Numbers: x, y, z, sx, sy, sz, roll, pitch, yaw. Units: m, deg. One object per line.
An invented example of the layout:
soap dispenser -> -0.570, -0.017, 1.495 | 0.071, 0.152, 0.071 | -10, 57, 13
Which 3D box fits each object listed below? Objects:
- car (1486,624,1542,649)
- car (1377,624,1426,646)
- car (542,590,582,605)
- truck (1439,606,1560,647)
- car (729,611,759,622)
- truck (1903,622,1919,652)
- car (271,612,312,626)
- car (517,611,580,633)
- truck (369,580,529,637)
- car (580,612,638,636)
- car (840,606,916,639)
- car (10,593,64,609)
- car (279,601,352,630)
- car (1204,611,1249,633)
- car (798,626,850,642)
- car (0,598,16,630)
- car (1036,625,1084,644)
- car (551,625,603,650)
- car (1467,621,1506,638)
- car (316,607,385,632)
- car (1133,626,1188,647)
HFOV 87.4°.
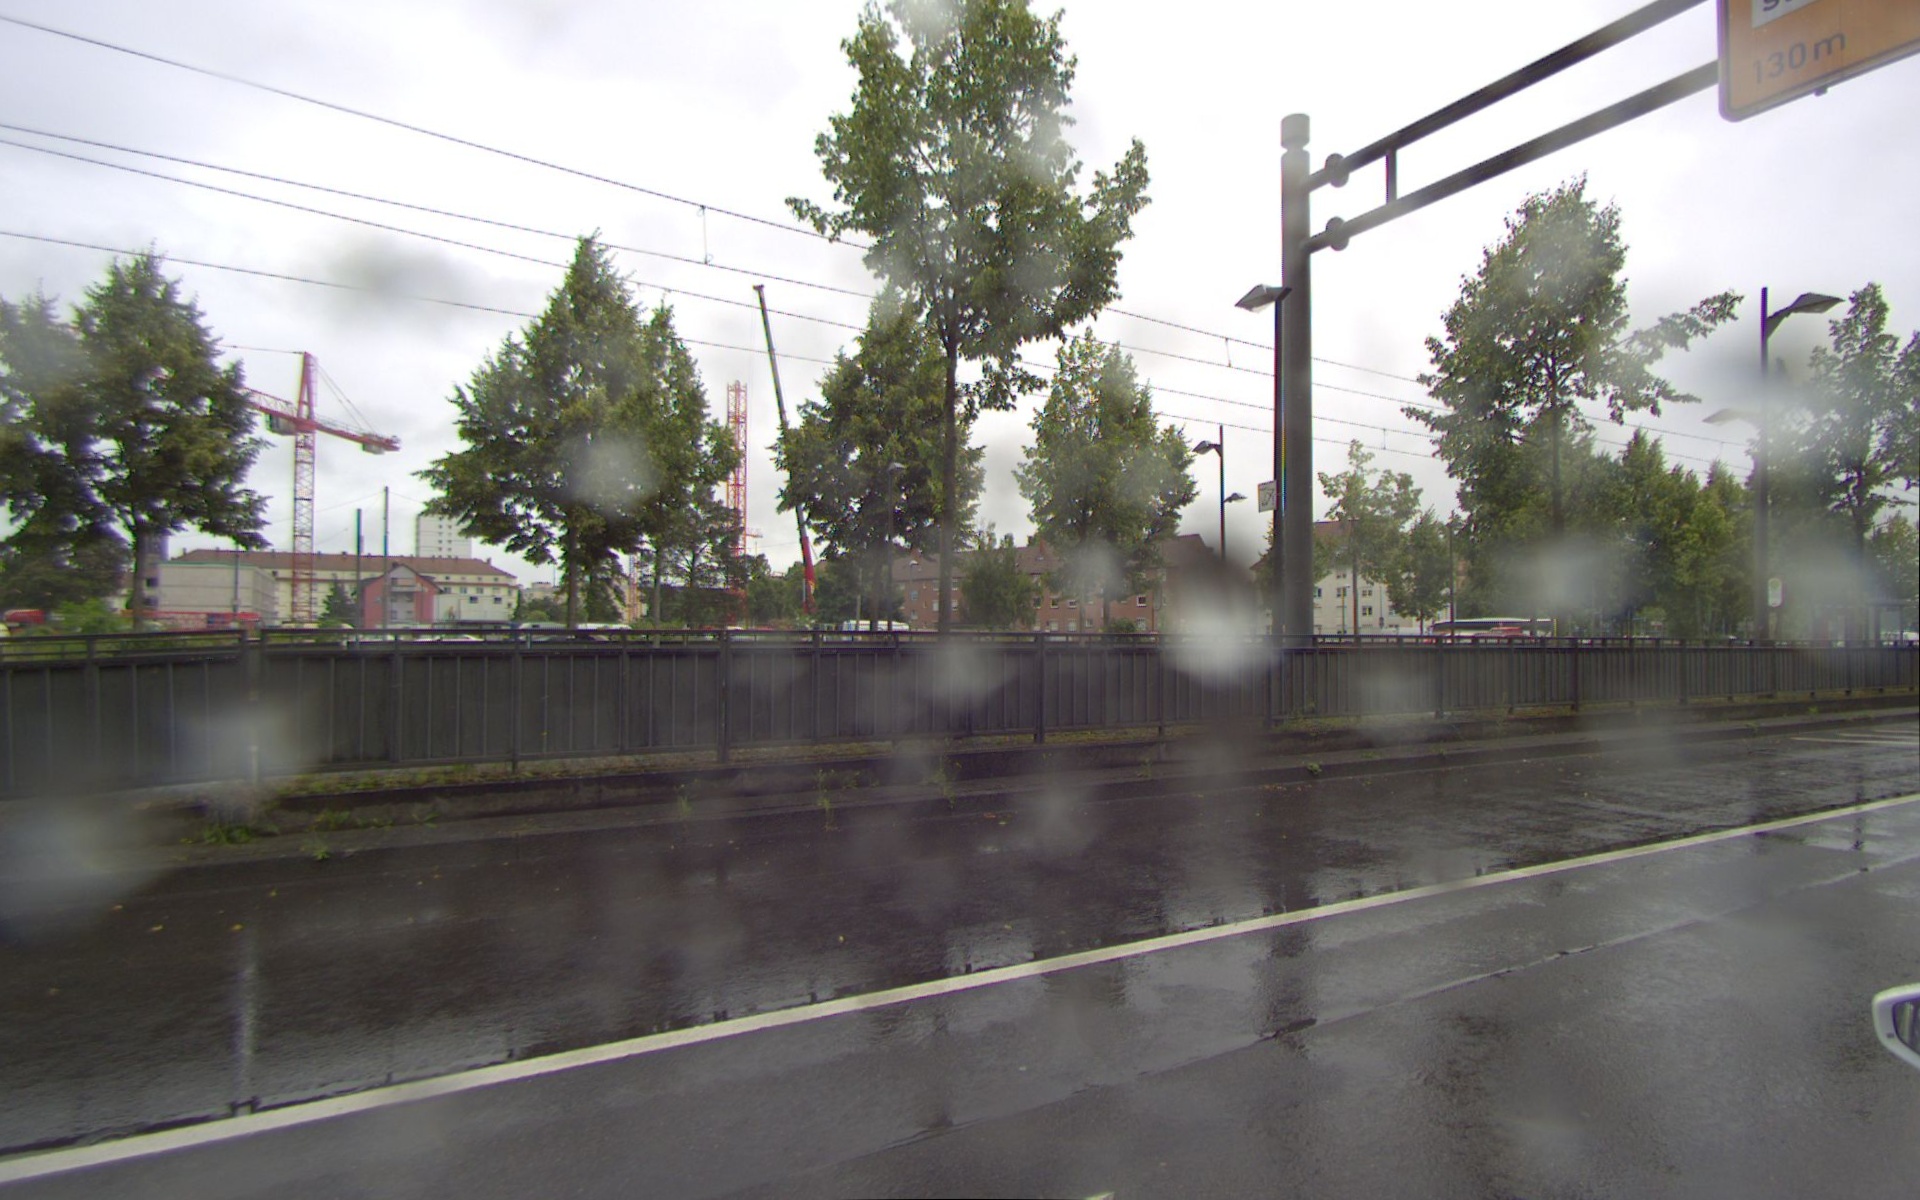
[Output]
car -> 48.094, 3.174, 87.245 | 3.933, 2.040, 1.994 | 2, -1, -15
car -> 44.216, 3.489, 100.708 | 4.144, 2.040, 1.994 | 2, -1, -15
car -> -41.944, -0.235, 105.866 | 3.768, 1.539, 1.732 | -1, -1, -30
truck -> 63.976, 3.188, 119.362 | 12.284, 4.654, 3.392 | -2, -1, 34
car -> -30.840, 2.316, 143.407 | 3.768, 1.539, 1.732 | -1, -1, -30
truck -> 109.339, 4.021, 105.814 | 14.607, 3.188, 3.525 | 1, -1, 16
car -> -77.360, 2.197, 116.238 | 3.768, 1.539, 1.732 | -1, -1, -30
car -> -40.829, 2.181, 99.781 | 5.460, 2.040, 1.981 | -1, -1, -35
truck -> -52.100, 0.880, 102.873 | 6.108, 5.467, 13.249 | -2, -1, 39
car -> -27.838, 1.900, 79.760 | 3.967, 1.840, 1.809 | -1, -1, -41
car -> -6.183, 1.703, 76.089 | 5.435, 2.357, 1.829 | -1, -1, -31
car -> -77.853, 0.080, 84.732 | 1.461, 1.228, 3.250 | -2, -1, 42
car -> -43.793, 1.048, 68.303 | 3.967, 1.840, 1.809 | -1, -1, -41
car -> 26.060, 2.155, 98.175 | 3.953, 2.040, 1.984 | -1, -1, -30
car -> -10.858, 2.694, 80.470 | 3.768, 1.171, 1.732 | -1, -1, -30
car -> -53.847, 0.808, 52.902 | 5.712, 1.694, 2.035 | -1, -1, -32
car -> 9.230, 3.186, 92.516 | 3.953, 1.639, 1.984 | -1, -1, -30
car -> -33.545, 3.258, 87.991 | 3.953, 2.040, 1.984 | -1, -1, -30
car -> 56.575, 3.184, 107.893 | 3.487, 1.762, 1.699 | -2, -1, 37
car -> -39.668, 1.261, 65.469 | 3.768, 1.539, 1.732 | -1, -1, -30
car -> 20.881, 3.771, 104.593 | 5.294, 2.040, 2.082 | -1, -1, -23
